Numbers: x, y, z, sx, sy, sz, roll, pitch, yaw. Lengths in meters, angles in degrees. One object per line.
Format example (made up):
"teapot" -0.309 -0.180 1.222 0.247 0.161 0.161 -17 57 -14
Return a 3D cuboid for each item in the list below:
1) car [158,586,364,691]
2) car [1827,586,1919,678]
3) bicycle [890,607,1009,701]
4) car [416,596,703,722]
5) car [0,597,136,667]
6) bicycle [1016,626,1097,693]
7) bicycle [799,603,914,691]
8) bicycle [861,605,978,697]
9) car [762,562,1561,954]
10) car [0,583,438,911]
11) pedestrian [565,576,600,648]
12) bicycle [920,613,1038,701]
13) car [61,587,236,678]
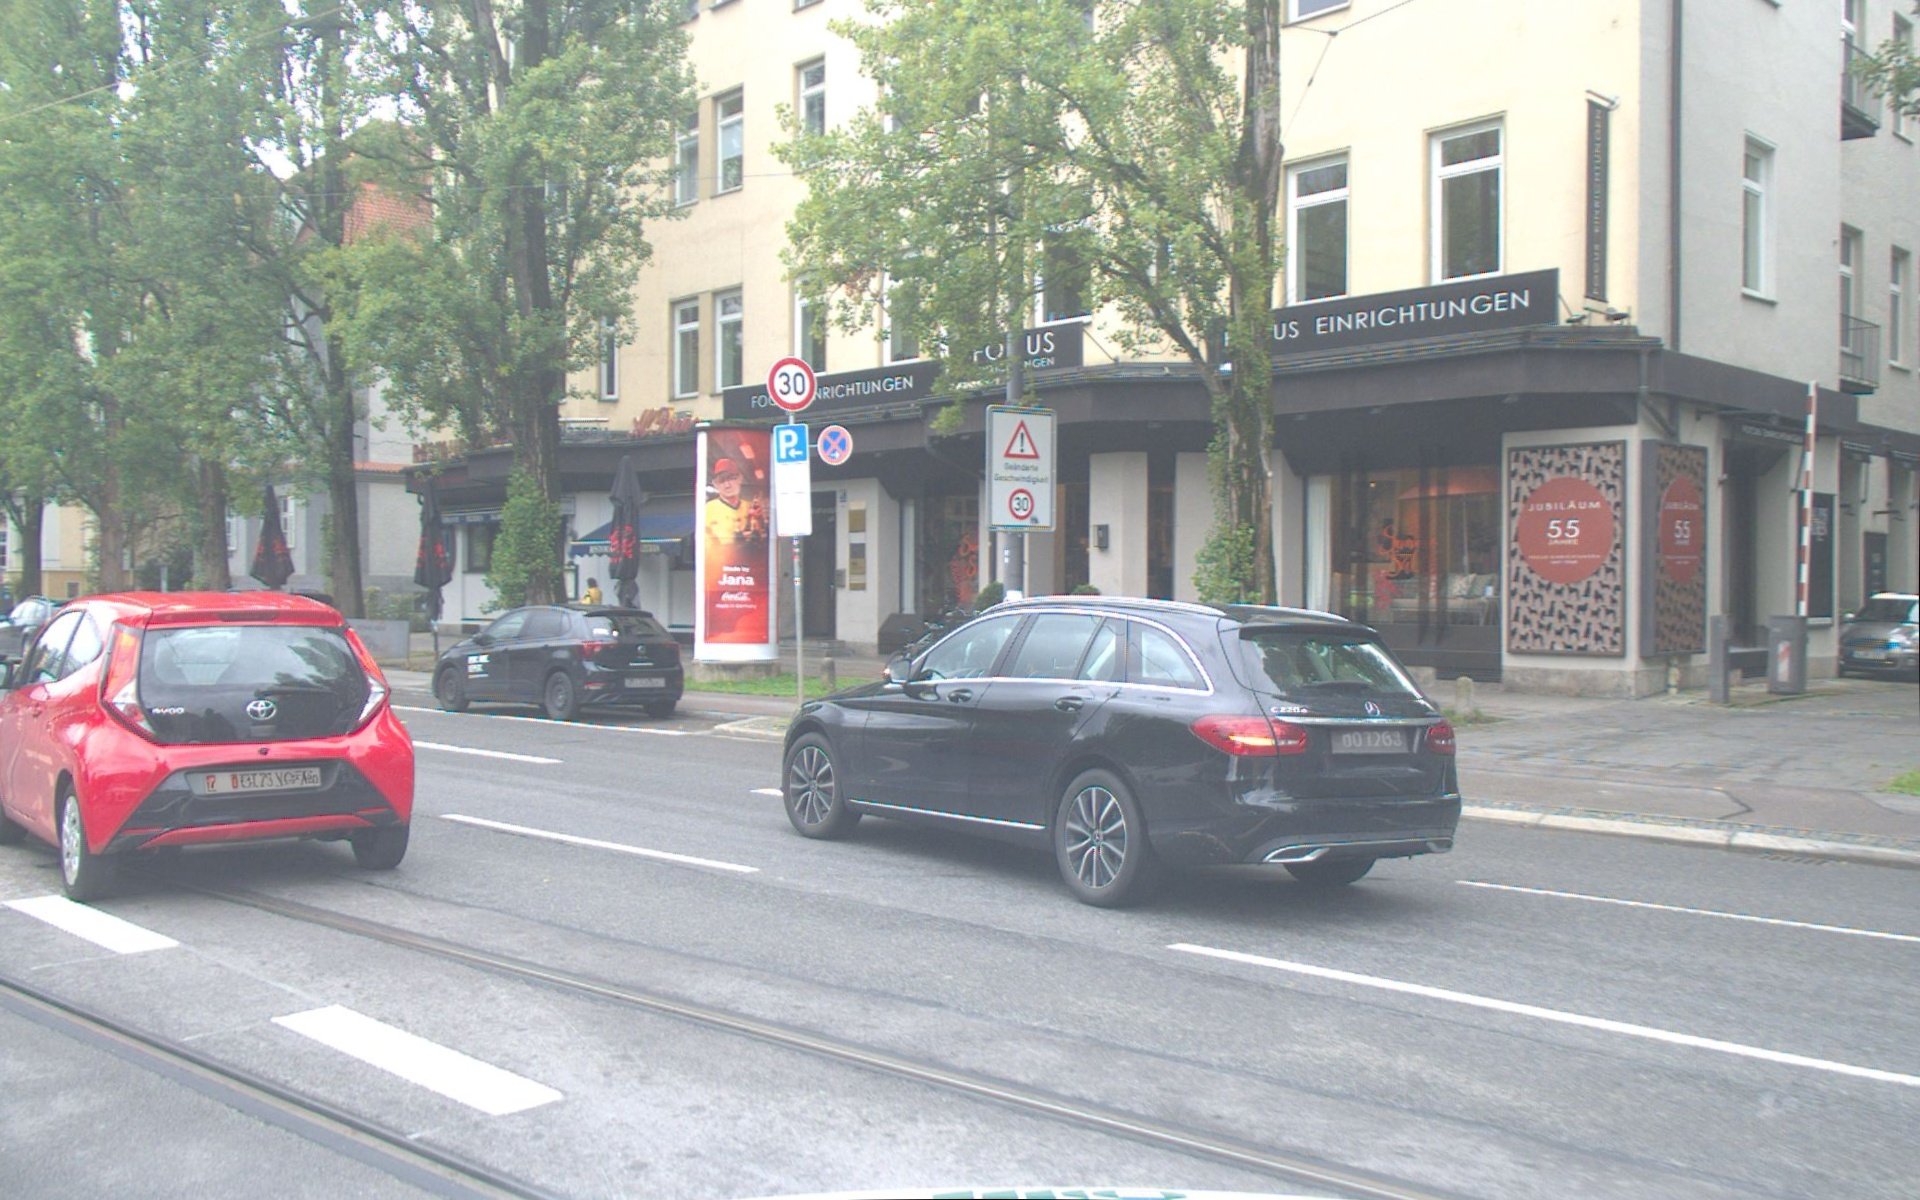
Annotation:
"car" -11.945 0.587 28.130 1.714 1.640 4.396 -1 1 -45
"car" 16.261 0.497 28.244 1.700 1.467 3.977 0 1 41
"bicycle" -0.123 0.715 22.503 0.487 1.205 1.878 0 0 42
"car" -5.336 0.710 21.828 3.928 1.491 1.794 0 0 42
"car" -19.788 0.655 36.286 1.792 1.423 4.309 -1 1 -45
"bicycle" 1.379 0.832 23.496 0.382 0.899 1.363 0 0 42
"bicycle" -1.478 0.663 24.020 0.487 1.205 1.878 0 0 42
"bicycle" -0.551 0.689 23.053 0.487 1.205 1.878 0 0 42
"car" 0.774 0.591 9.166 1.847 1.576 4.649 0 1 -34
"car" -4.342 0.661 9.224 1.618 1.465 3.329 1 -1 -39
"pedestrian" -8.441 0.265 36.967 0.570 1.589 0.487 1 1 -44
"bicycle" 0.274 0.742 22.168 0.487 1.100 1.878 0 0 42
"car" -15.745 0.567 32.002 1.792 1.640 4.233 -1 1 -45
